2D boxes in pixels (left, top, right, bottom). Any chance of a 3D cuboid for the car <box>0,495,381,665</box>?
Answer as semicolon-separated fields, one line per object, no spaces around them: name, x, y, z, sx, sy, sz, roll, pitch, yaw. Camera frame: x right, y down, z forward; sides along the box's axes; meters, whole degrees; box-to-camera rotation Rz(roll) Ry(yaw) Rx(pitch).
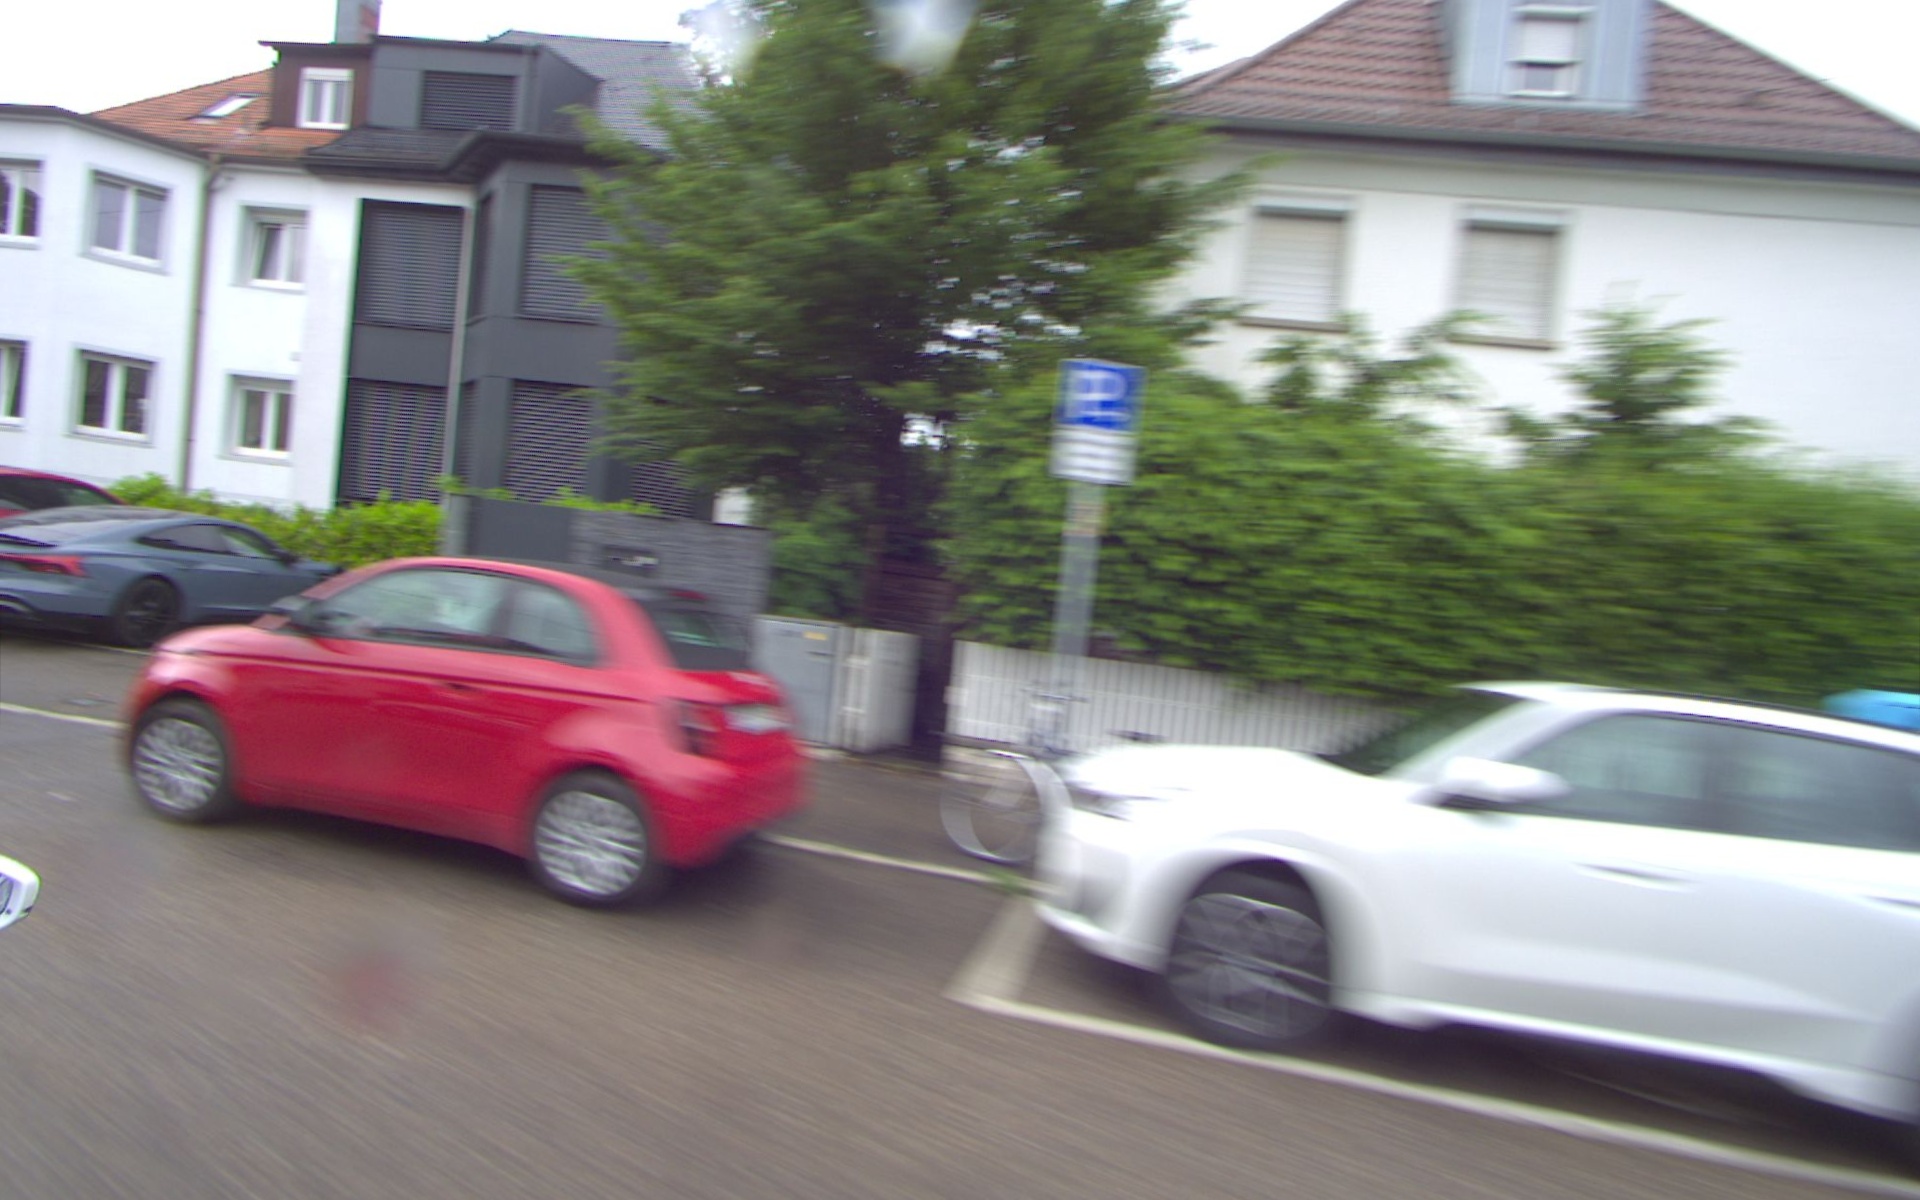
car;-9.089;-0.273;11.501;1.962;1.435;4.560;7;1;4

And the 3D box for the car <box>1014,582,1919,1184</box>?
car;2.683;1.103;4.485;4.559;1.692;1.751;7;-1;9

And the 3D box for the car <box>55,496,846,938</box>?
car;-2.616;0.511;5.500;3.473;1.556;1.618;7;-1;12

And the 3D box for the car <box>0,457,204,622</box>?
car;-11.326;-0.778;11.572;1.963;1.773;4.083;7;2;2
